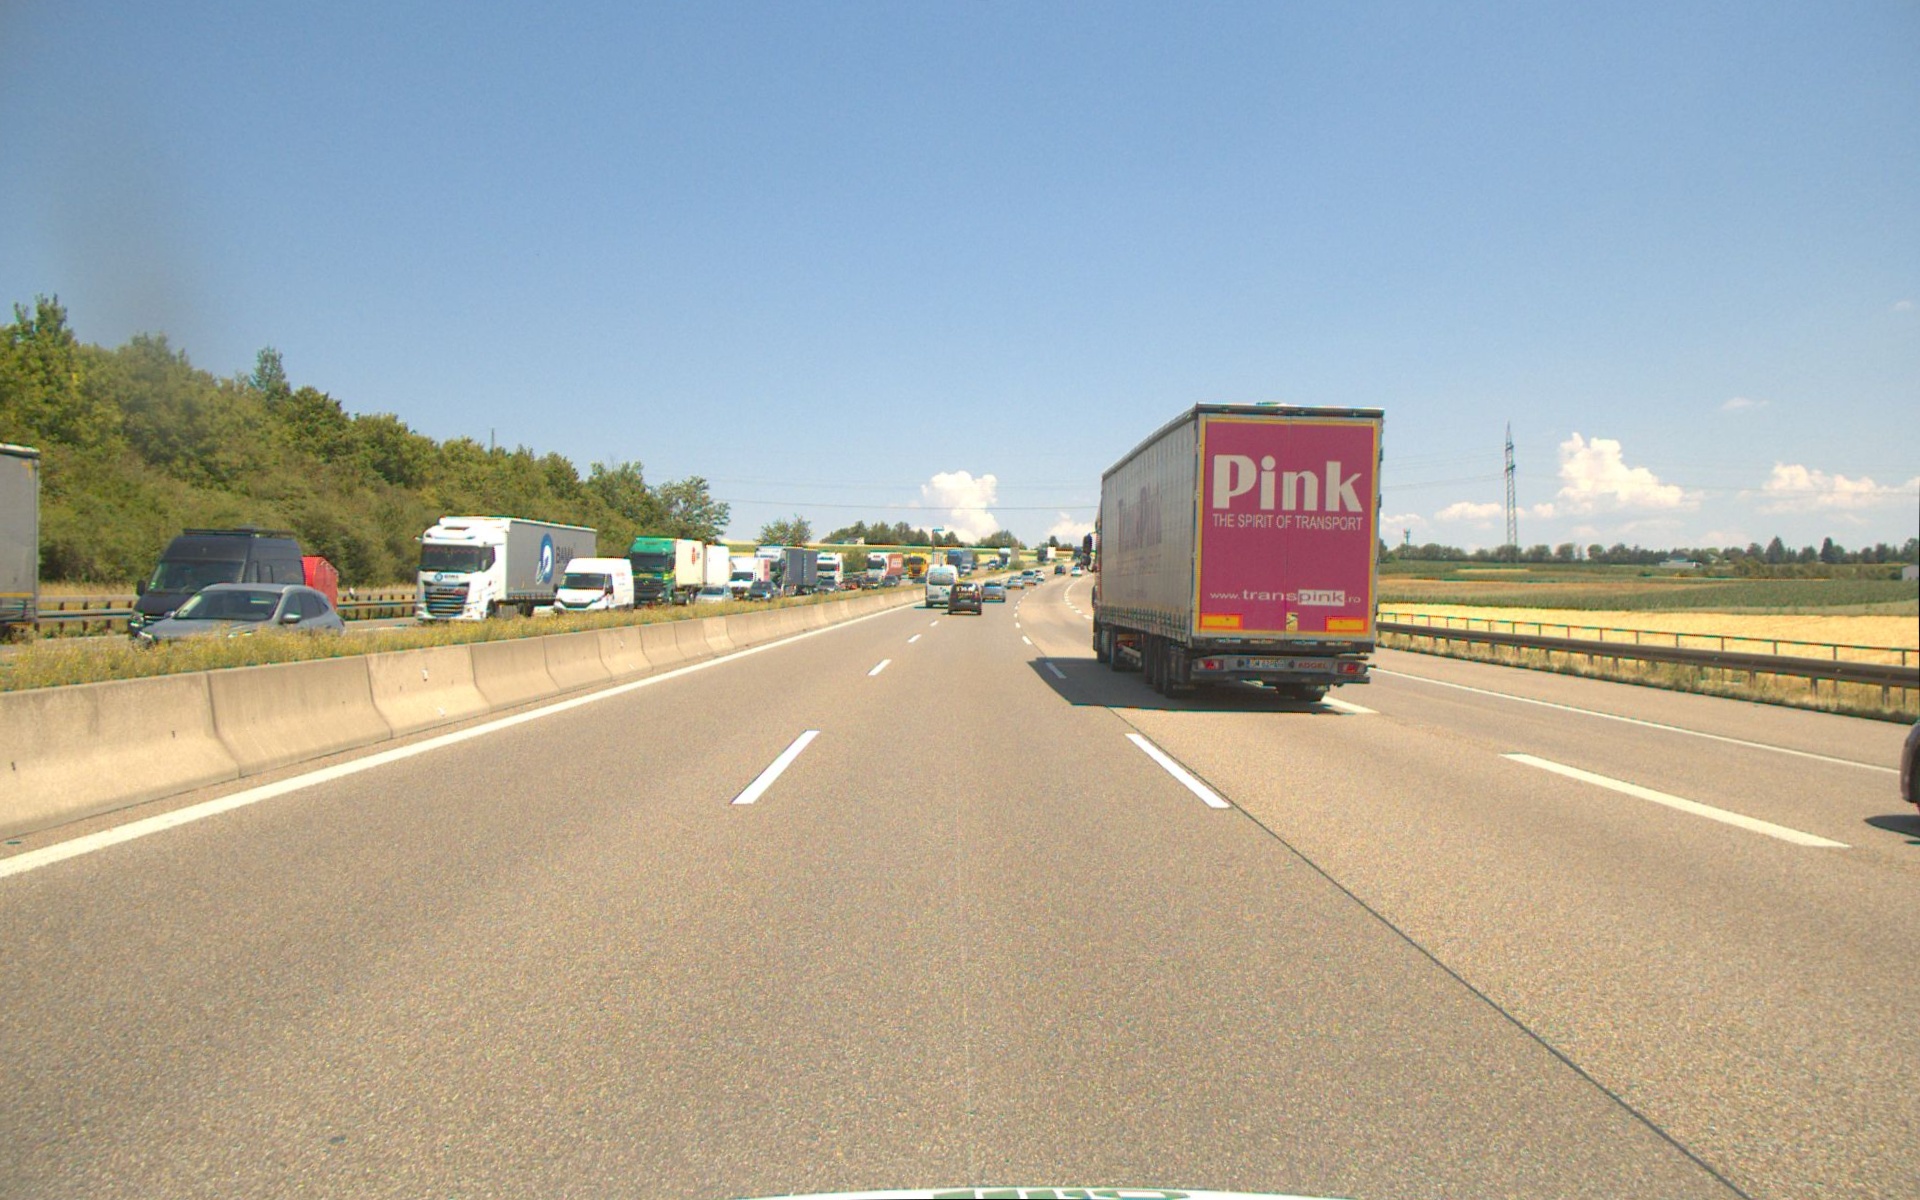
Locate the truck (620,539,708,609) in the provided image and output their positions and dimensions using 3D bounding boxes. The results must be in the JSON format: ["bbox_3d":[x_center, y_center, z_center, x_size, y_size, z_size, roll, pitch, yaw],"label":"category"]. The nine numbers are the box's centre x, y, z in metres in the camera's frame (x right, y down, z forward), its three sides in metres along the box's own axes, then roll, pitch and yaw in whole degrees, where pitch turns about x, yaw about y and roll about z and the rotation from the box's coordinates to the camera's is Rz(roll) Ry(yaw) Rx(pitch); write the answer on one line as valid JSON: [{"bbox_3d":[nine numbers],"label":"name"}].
[{"bbox_3d":[-17.670,-1.560,99.533,2.783,3.967,11.251,-1,1,2],"label":"truck"}]

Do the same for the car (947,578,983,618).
[{"bbox_3d":[0.248,-0.119,86.140,1.810,1.893,4.206,0,3,-1],"label":"car"}]

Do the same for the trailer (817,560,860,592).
[{"bbox_3d":[-12.853,-2.631,176.282,2.798,3.261,12.791,1,1,4],"label":"trailer"}]

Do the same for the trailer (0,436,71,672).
[{"bbox_3d":[-18.830,-0.858,25.111,2.921,4.280,14.192,1,0,0],"label":"trailer"}]

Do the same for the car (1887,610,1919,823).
[{"bbox_3d":[7.645,0.861,9.830,1.725,1.496,4.536,1,1,0],"label":"car"}]

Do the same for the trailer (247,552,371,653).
[{"bbox_3d":[-15.524,0.024,39.637,1.538,2.292,3.960,0,1,-2],"label":"trailer"}]

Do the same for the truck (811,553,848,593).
[{"bbox_3d":[-13.343,-2.807,169.470,2.840,3.944,6.182,1,1,4],"label":"truck"}]

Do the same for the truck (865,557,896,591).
[{"bbox_3d":[-10.054,-3.351,209.456,2.971,4.152,6.319,1,1,5],"label":"truck"}]

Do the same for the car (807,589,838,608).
[{"bbox_3d":[-11.643,-0.144,140.389,1.952,1.572,5.496,0,1,2],"label":"car"}]

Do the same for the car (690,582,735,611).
[{"bbox_3d":[-13.835,-0.180,92.523,1.716,1.486,4.858,1,-1,1],"label":"car"}]

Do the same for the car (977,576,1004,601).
[{"bbox_3d":[2.265,-0.867,123.975,1.953,1.780,3.999,1,-1,0],"label":"car"}]

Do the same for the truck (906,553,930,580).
[{"bbox_3d":[-6.451,-5.167,253.178,2.692,3.903,7.104,1,2,7],"label":"truck"}]

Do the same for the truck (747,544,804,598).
[{"bbox_3d":[-15.398,-2.459,138.659,2.938,4.307,10.739,0,1,4],"label":"truck"}]

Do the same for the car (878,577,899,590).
[{"bbox_3d":[-8.109,-1.912,188.491,1.952,1.480,5.173,0,1,3],"label":"car"}]

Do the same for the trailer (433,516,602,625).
[{"bbox_3d":[-18.395,-1.192,70.145,2.842,4.157,14.449,0,1,2],"label":"trailer"}]

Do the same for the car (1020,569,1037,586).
[{"bbox_3d":[8.522,-2.795,204.978,1.952,1.937,4.000,1,-1,0],"label":"car"}]

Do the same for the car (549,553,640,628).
[{"bbox_3d":[-14.566,-0.306,66.389,2.095,2.835,6.624,1,-1,0],"label":"car"}]

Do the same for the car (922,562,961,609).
[{"bbox_3d":[-1.086,-0.847,100.897,2.134,2.671,4.673,1,-1,2],"label":"car"}]

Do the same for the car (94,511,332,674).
[{"bbox_3d":[-15.328,-0.180,34.467,2.192,3.066,6.549,0,1,-2],"label":"car"}]

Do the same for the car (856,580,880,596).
[{"bbox_3d":[-9.552,-1.282,171.987,1.952,1.554,4.775,1,1,3],"label":"car"}]

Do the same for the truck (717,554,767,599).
[{"bbox_3d":[-16.381,-1.768,124.758,2.485,3.263,7.592,1,1,2],"label":"truck"}]

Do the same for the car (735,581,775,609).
[{"bbox_3d":[-13.391,-0.303,108.330,1.823,1.670,5.114,0,-1,1],"label":"car"}]

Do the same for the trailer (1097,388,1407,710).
[{"bbox_3d":[4.418,-0.735,28.692,2.859,4.189,13.858,1,1,0],"label":"trailer"}]

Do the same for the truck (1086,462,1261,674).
[{"bbox_3d":[4.403,-0.659,35.428,2.857,4.078,6.511,1,0,0],"label":"truck"}]

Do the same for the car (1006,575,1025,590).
[{"bbox_3d":[6.112,-1.934,182.210,1.952,1.612,4.001,0,0,1],"label":"car"}]

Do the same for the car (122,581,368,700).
[{"bbox_3d":[-11.260,0.576,26.468,1.892,1.718,4.796,0,0,-1],"label":"car"}]

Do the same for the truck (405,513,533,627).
[{"bbox_3d":[-18.584,-1.121,63.059,2.794,4.107,6.605,0,0,1],"label":"truck"}]

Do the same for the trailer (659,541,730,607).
[{"bbox_3d":[-17.289,-1.720,108.397,2.859,4.142,8.234,-1,1,3],"label":"trailer"}]
